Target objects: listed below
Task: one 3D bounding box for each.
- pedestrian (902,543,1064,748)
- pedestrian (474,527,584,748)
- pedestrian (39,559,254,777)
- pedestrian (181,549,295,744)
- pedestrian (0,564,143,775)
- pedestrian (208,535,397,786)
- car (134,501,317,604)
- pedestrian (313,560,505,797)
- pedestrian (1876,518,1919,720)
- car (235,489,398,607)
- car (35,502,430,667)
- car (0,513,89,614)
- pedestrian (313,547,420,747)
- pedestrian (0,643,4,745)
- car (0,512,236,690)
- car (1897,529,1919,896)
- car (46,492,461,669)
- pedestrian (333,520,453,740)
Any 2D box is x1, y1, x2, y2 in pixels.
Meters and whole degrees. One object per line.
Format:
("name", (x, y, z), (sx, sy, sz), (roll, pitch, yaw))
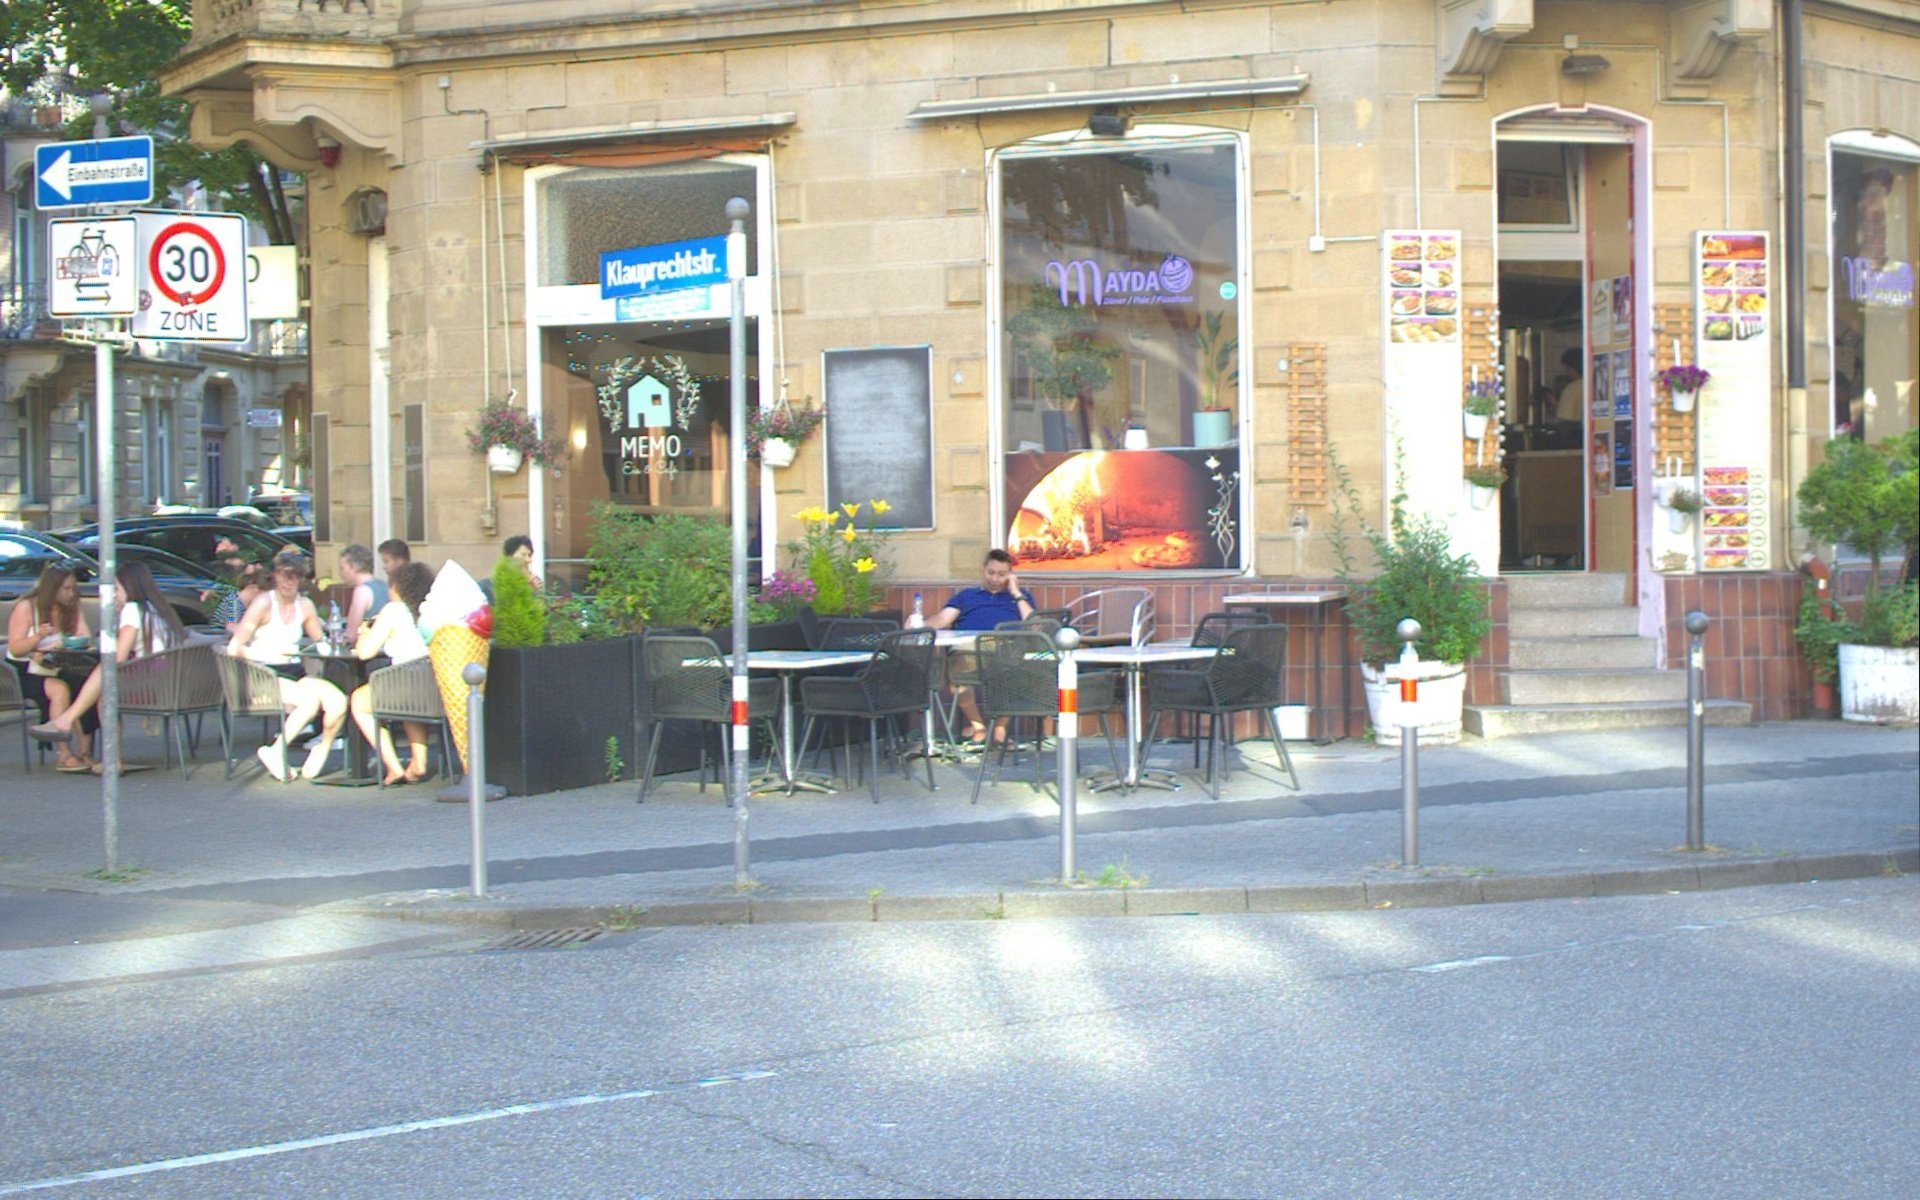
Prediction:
("pedestrian", (0.145, 0.265, 20.886), (0.726, 1.209, 0.756), (0, 1, 23))
("pedestrian", (-2.707, 0.230, 21.607), (0.481, 1.362, 0.433), (0, 2, 34))
("pedestrian", (-4.859, 0.389, 20.535), (1.024, 1.244, 0.747), (0, 2, 40))
("pedestrian", (-4.729, 0.298, 22.518), (0.481, 1.244, 0.509), (0, 2, 40))
("pedestrian", (-5.562, 0.413, 21.112), (0.706, 1.244, 0.747), (0, 2, 40))
("pedestrian", (-3.793, 0.334, 19.857), (0.755, 1.406, 0.726), (0, 1, 31))
("car", (-12.403, -0.827, 58.277), (1.807, 1.678, 3.751), (-1, 1, 8))
("pedestrian", (-3.104, 0.427, 19.384), (0.744, 1.285, 0.741), (0, 1, 33))
("pedestrian", (6.274, 0.107, 21.625), (0.727, 1.254, 0.755), (0, 2, 40))
("car", (-11.822, -0.974, 63.348), (1.807, 2.077, 3.751), (-1, 1, 8))
("car", (-7.943, -0.197, 37.443), (3.986, 1.678, 2.001), (-1, 1, -18))
("car", (-13.851, -0.522, 48.119), (1.923, 1.371, 3.751), (-1, 1, 8))
("pedestrian", (-3.795, 0.293, 21.995), (0.481, 1.244, 0.433), (0, 2, 40))
("pedestrian", (-6.999, 0.396, 23.458), (0.675, 1.211, 0.668), (-3, 1, -37))
("car", (-8.703, 0.002, 31.322), (3.823, 1.556, 1.804), (-1, 1, -23))
("car", (5.918, 0.394, 14.722), (4.128, 1.482, 1.763), (-2, 1, -43))
("car", (-7.090, -0.218, 34.863), (3.986, 1.678, 2.001), (-1, 1, -8))
("pedestrian", (-3.757, 0.191, 22.792), (0.569, 1.426, 0.481), (0, 2, 32))
